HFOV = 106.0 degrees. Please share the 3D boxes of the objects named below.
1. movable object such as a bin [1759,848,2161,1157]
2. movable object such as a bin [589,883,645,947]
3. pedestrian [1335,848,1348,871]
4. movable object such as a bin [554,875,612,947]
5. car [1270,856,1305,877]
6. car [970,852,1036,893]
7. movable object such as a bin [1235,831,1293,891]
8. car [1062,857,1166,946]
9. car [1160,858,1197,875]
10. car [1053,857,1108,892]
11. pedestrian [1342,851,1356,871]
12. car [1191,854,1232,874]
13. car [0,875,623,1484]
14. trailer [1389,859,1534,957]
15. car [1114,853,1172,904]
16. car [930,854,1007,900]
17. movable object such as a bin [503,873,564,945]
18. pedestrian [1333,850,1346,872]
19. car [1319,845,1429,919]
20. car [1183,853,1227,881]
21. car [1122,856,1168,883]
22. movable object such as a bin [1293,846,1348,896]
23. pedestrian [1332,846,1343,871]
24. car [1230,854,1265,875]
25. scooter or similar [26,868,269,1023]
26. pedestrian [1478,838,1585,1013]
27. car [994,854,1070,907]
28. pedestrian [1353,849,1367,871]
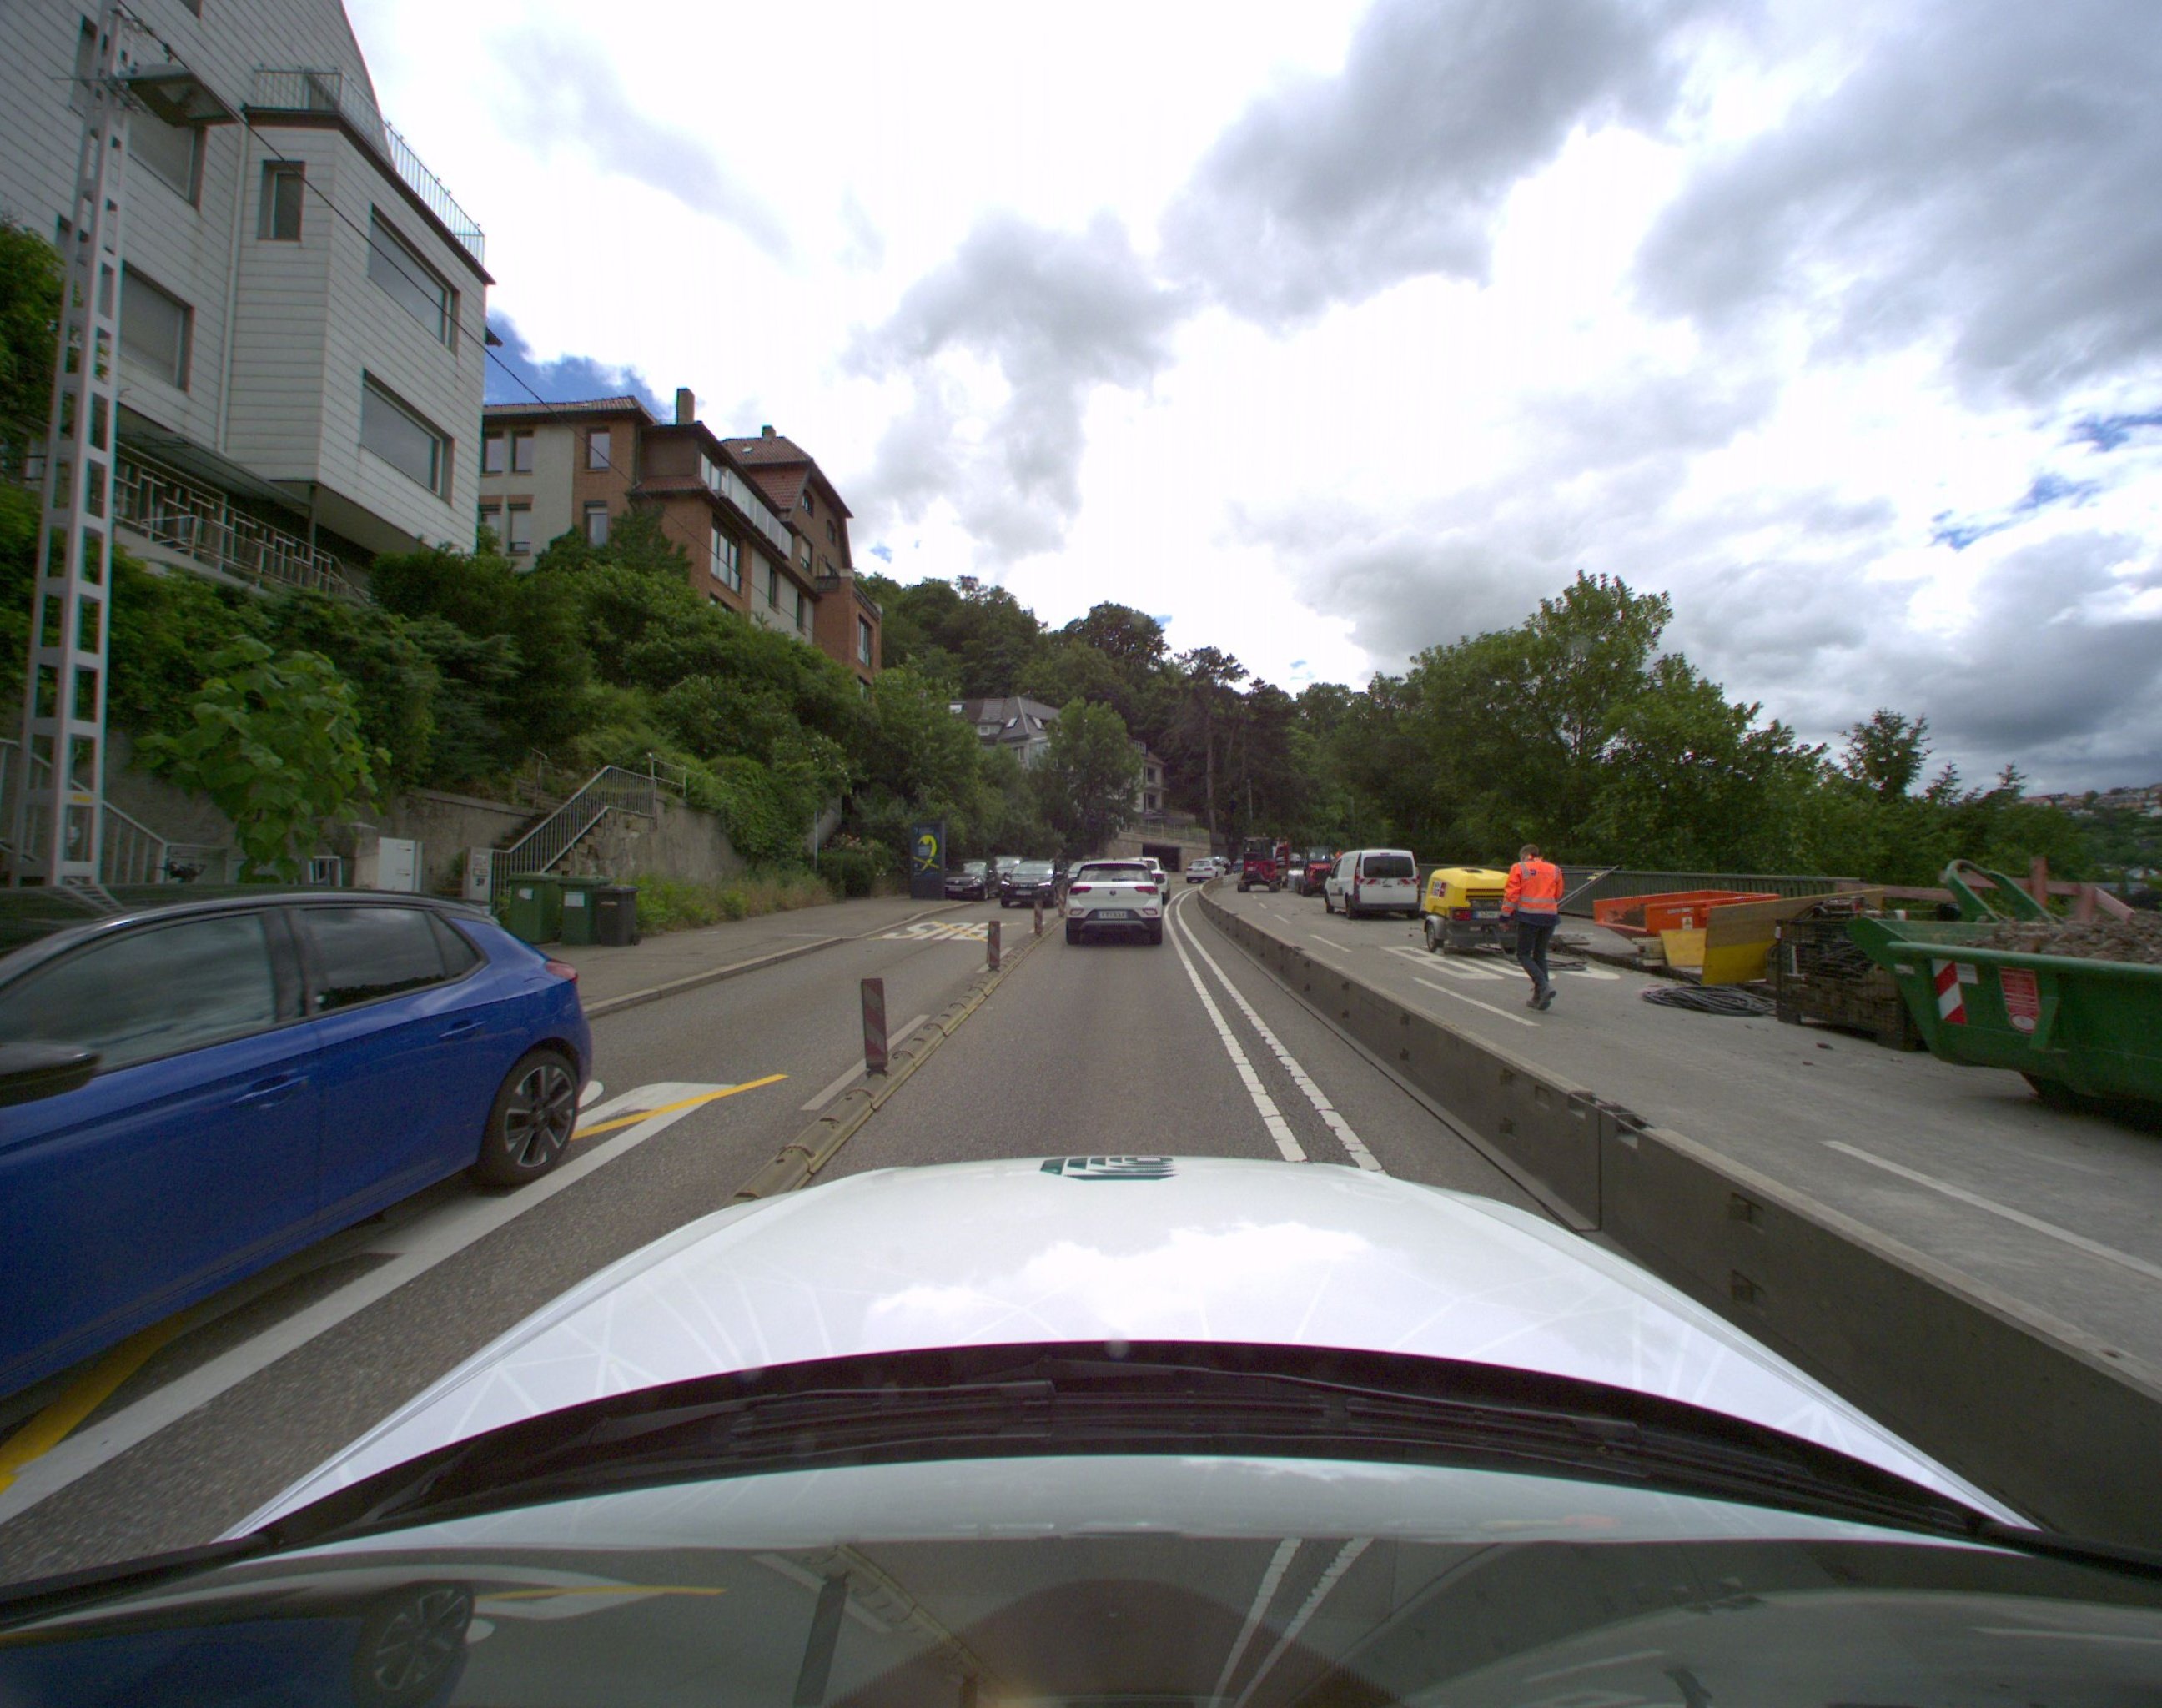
[{"bbox_3d":[6.637,0.739,3.018,2.366,1.561,7.098,0,0,0],"label":"movable object such as a bin"},{"bbox_3d":[-7.112,0.923,12.499,0.466,0.934,0.624,1,0,1],"label":"movable object such as a bin"},{"bbox_3d":[21.219,0.465,66.435,0.868,1.822,0.883,-2,-1,24],"label":"pedestrian"},{"bbox_3d":[-7.633,0.854,12.498,0.466,1.053,0.624,1,0,1],"label":"movable object such as a bin"},{"bbox_3d":[17.822,1.080,70.250,1.792,1.663,4.025,-2,-1,31],"label":"car"},{"bbox_3d":[-3.325,0.779,35.606,1.676,1.606,4.199,2,0,11],"label":"car"},{"bbox_3d":[8.809,0.309,38.885,2.194,2.663,4.968,-1,0,19],"label":"movable object such as a bin"},{"bbox_3d":[0.630,0.833,16.205,1.803,1.531,4.001,0,0,2],"label":"car"},{"bbox_3d":[8.925,1.155,74.268,1.764,1.453,3.725,0,-2,35],"label":"car"},{"bbox_3d":[0.061,0.916,37.837,1.784,1.482,4.341,1,-1,10],"label":"car"},{"bbox_3d":[21.125,0.561,64.203,0.775,1.608,0.671,-2,-1,40],"label":"pedestrian"},{"bbox_3d":[10.373,0.753,64.538,1.750,1.568,4.256,0,0,31],"label":"car"},{"bbox_3d":[-3.459,0.823,2.587,1.719,1.420,3.823,0,0,2],"label":"car"},{"bbox_3d":[6.462,0.830,14.189,1.281,1.475,3.642,0,0,8],"label":"trailer"},{"bbox_3d":[2.311,0.829,29.466,1.800,1.663,4.008,-2,-1,7],"label":"car"},{"bbox_3d":[-4.096,0.803,30.221,1.784,1.510,4.008,2,0,7],"label":"car"},{"bbox_3d":[-8.361,0.830,12.450,0.466,1.053,0.624,1,0,1],"label":"movable object such as a bin"},{"bbox_3d":[20.777,0.577,65.525,0.868,1.731,0.883,-2,-1,24],"label":"pedestrian"},{"bbox_3d":[7.758,0.695,22.005,1.823,1.779,4.275,-1,0,6],"label":"car"},{"bbox_3d":[7.785,0.786,50.813,1.794,1.663,4.021,-2,-1,22],"label":"car"},{"bbox_3d":[4.052,0.920,50.975,1.780,1.446,4.385,0,2,20],"label":"car"},{"bbox_3d":[9.830,0.649,33.718,1.691,1.943,4.176,0,0,10],"label":"movable object such as a bin"},{"bbox_3d":[20.300,0.369,64.515,0.686,1.906,0.828,-1,-1,12],"label":"pedestrian"},{"bbox_3d":[12.588,0.765,61.406,1.778,1.510,4.022,-2,-1,24],"label":"car"},{"bbox_3d":[-8.136,0.738,7.193,0.458,1.205,1.435,1,0,-1],"label":"scooter or similar"},{"bbox_3d":[4.621,0.700,8.401,0.643,1.701,0.850,1,0,1],"label":"pedestrian"},{"bbox_3d":[-1.554,0.835,27.039,1.805,1.622,3.827,0,0,7],"label":"car"},{"bbox_3d":[21.782,0.503,63.527,0.775,1.688,0.790,-2,-1,40],"label":"pedestrian"}]
